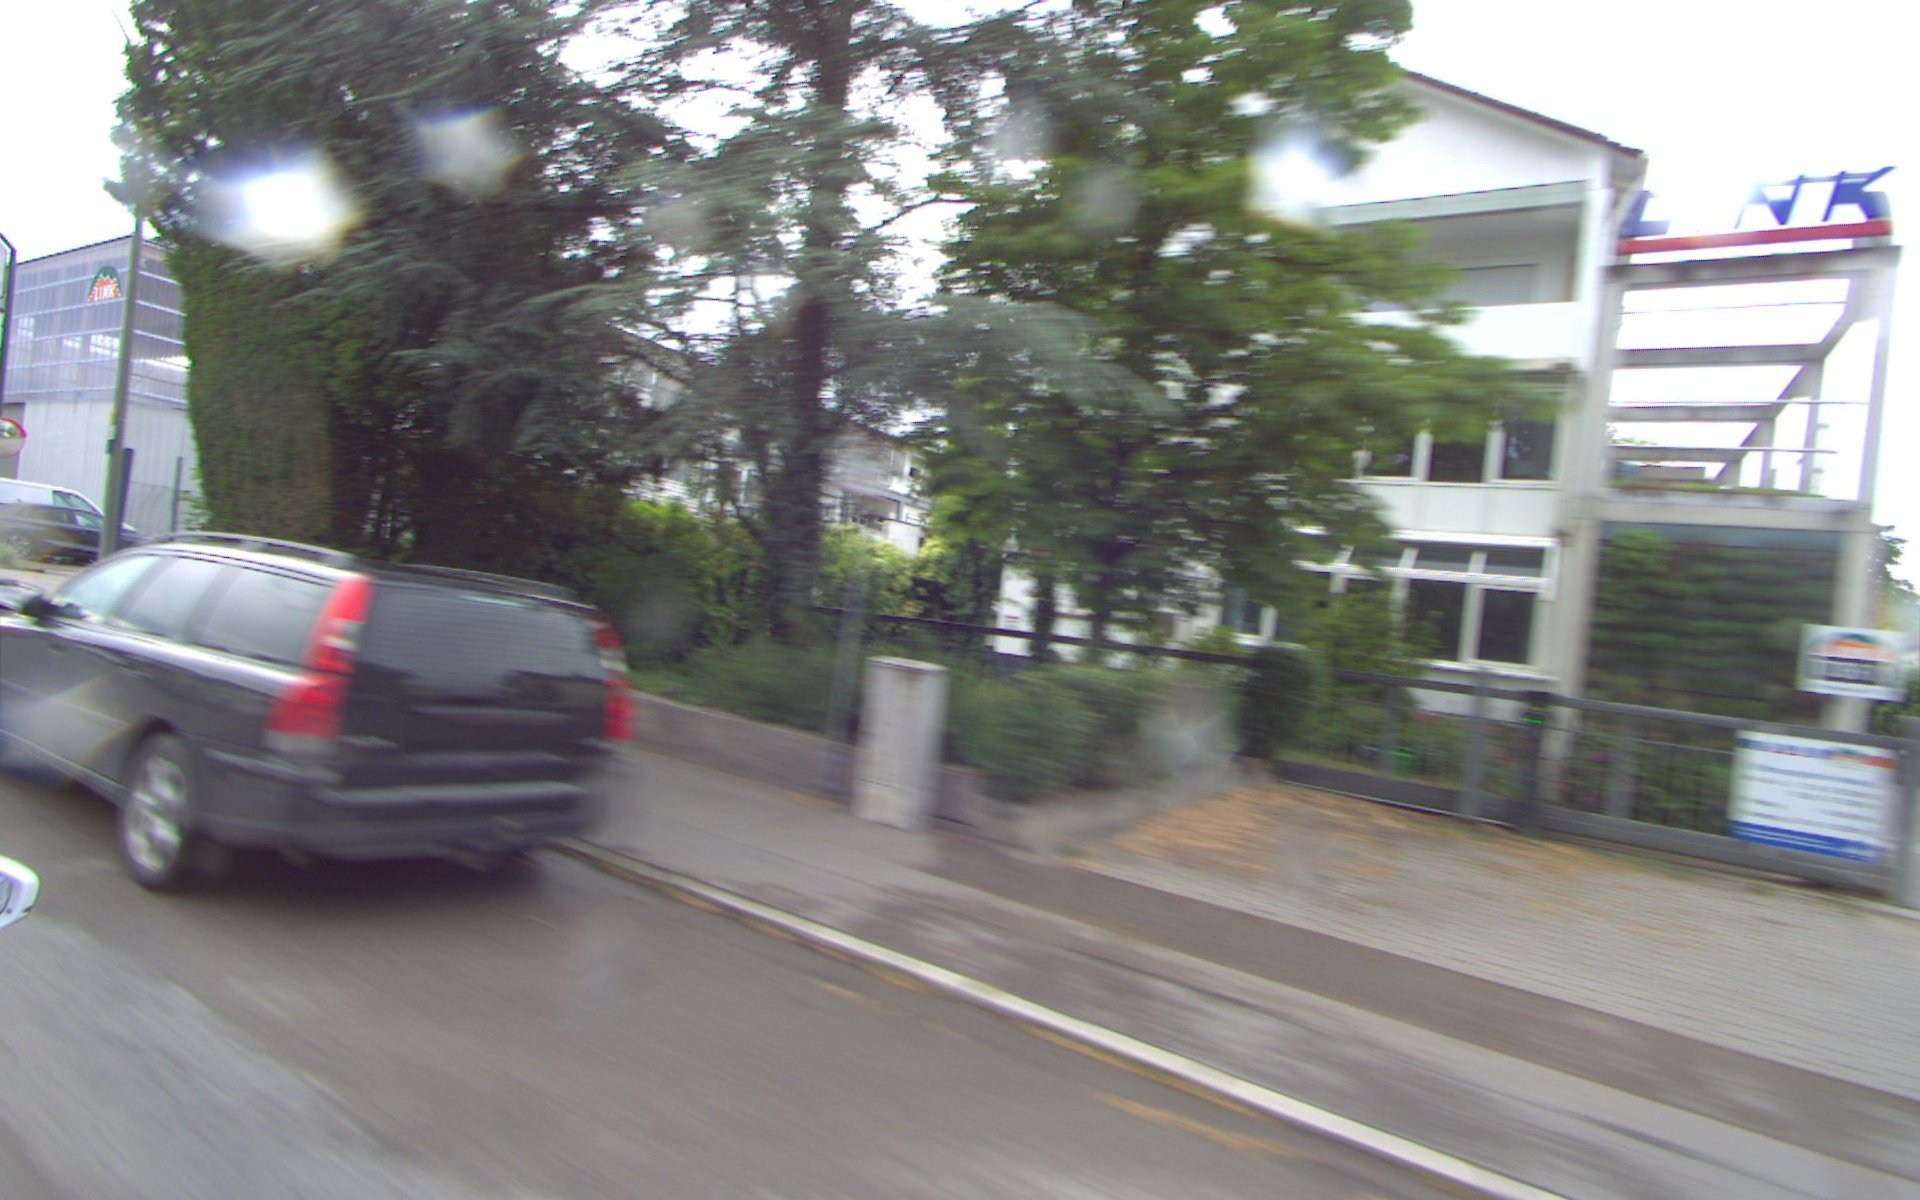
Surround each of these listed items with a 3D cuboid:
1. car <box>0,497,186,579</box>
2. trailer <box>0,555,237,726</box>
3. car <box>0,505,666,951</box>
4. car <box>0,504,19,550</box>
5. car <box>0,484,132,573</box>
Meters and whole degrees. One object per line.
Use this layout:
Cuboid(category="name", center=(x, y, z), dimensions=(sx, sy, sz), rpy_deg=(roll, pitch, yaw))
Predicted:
Cuboid(category="car", center=(-22.856, -1.622, 25.893), dimensions=(1.967, 1.473, 4.112), rpy_deg=(6, -3, 32))
Cuboid(category="trailer", center=(-9.122, 0.097, 8.838), dimensions=(6.527, 0.907, 2.178), rpy_deg=(7, -2, 32))
Cuboid(category="car", center=(-3.907, 0.421, 5.541), dimensions=(4.574, 1.448, 1.744), rpy_deg=(6, -4, 34))
Cuboid(category="car", center=(-35.514, -2.888, 34.523), dimensions=(1.782, 1.552, 4.253), rpy_deg=(6, -3, 32))
Cuboid(category="car", center=(-25.295, -2.060, 26.588), dimensions=(1.967, 1.907, 4.742), rpy_deg=(6, -3, 32))
